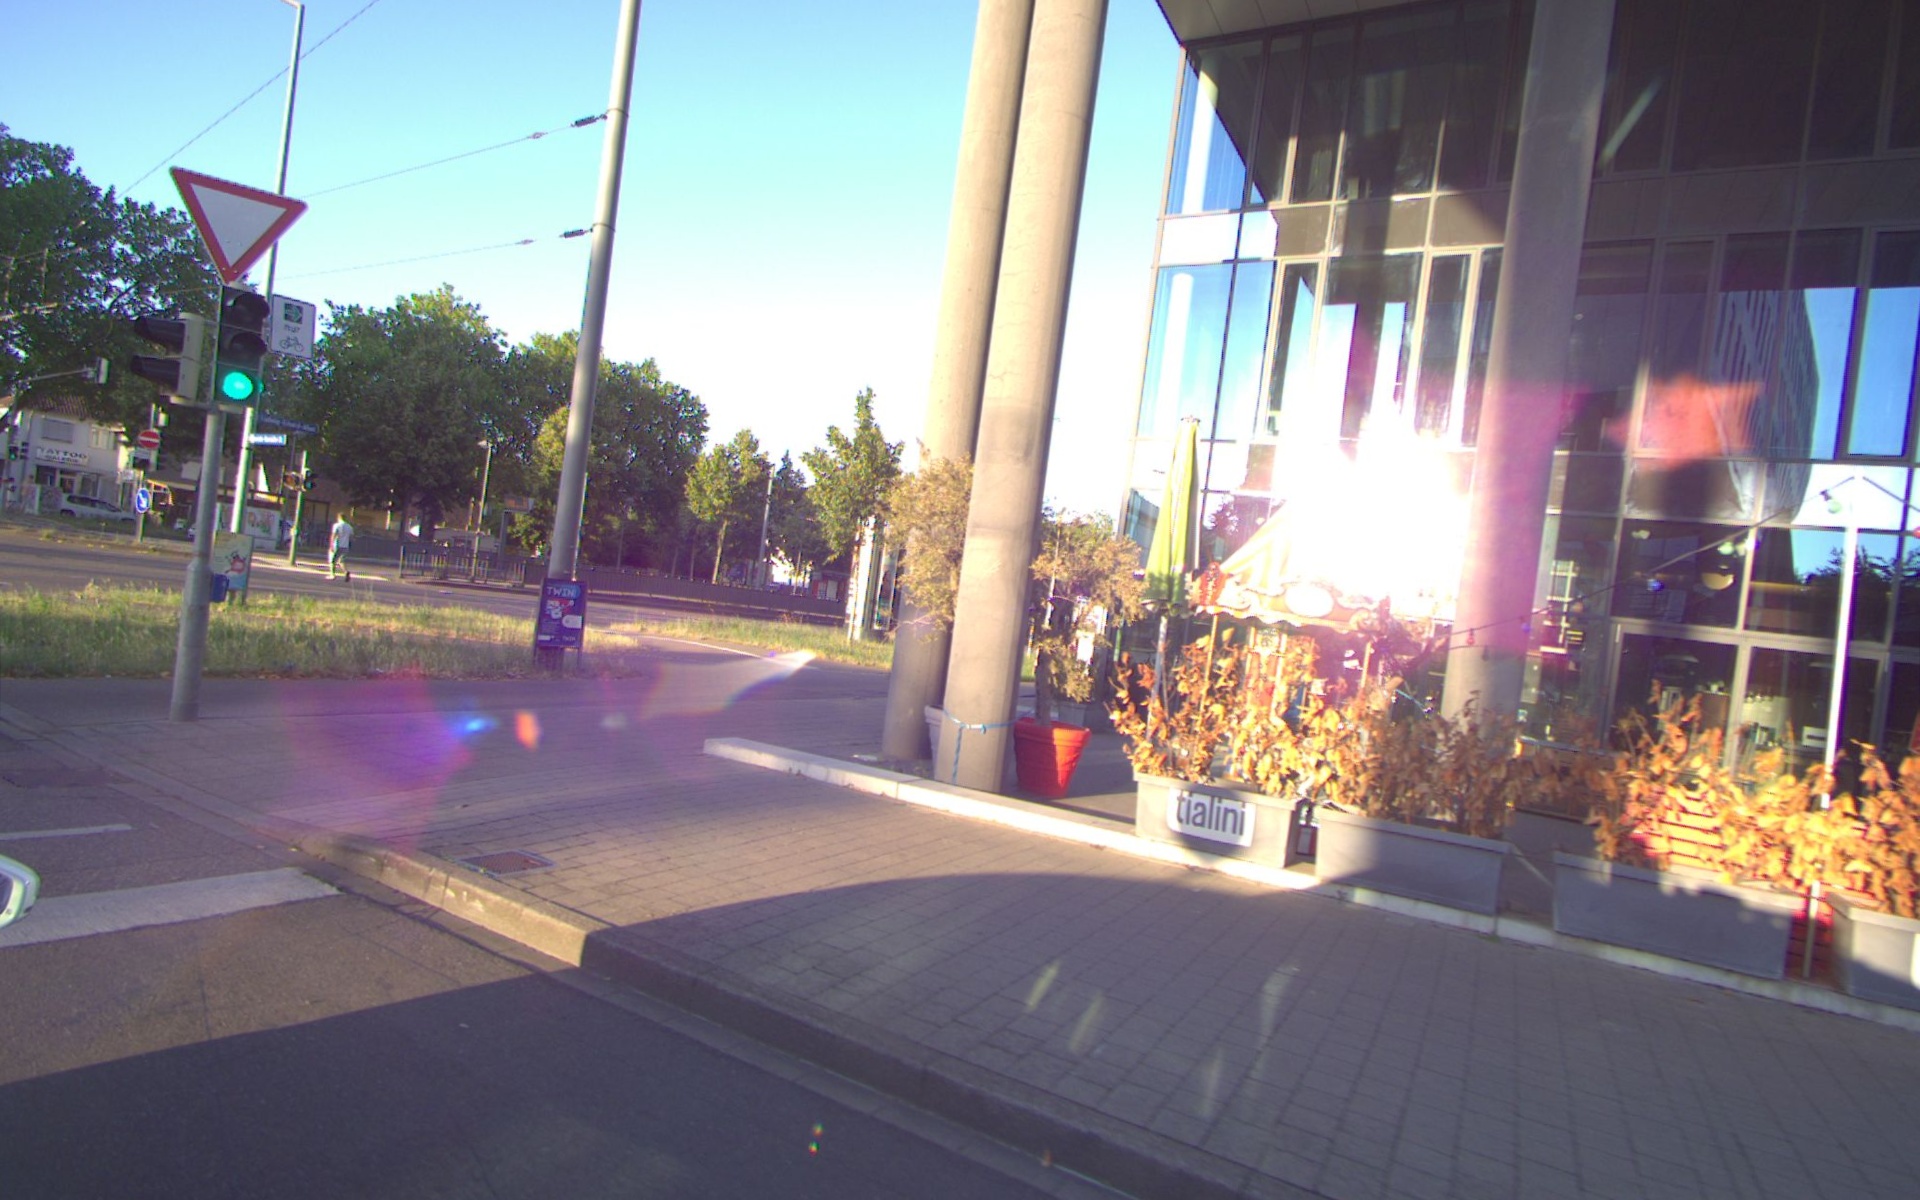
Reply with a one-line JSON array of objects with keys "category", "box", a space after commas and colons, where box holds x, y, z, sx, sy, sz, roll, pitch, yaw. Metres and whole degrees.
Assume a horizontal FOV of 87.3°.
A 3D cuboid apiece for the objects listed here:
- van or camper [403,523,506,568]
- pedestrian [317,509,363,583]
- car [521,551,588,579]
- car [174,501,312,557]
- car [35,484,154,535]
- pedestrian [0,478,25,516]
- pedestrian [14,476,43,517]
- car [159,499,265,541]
[{"category": "van or camper", "box": [-38.513, -4.115, 76.825, 2.229, 2.438, 6.568, 7, -2, 36]}, {"category": "pedestrian", "box": [-16.146, -1.401, 26.224, 0.755, 1.812, 0.796, 8, 0, -28]}, {"category": "car", "box": [-30.513, -2.649, 75.783, 1.968, 1.482, 4.234, 7, -1, 34]}, {"category": "car", "box": [-31.831, -3.111, 44.806, 1.829, 1.748, 4.545, 7, -1, 27]}, {"category": "car", "box": [-45.020, -4.705, 52.397, 1.968, 1.868, 4.234, 7, -1, 34]}, {"category": "pedestrian", "box": [-44.459, -4.801, 47.127, 0.714, 1.659, 0.889, 7, 0, -34]}, {"category": "pedestrian", "box": [-43.186, -4.785, 46.635, 0.714, 1.775, 0.889, 7, 0, -34]}, {"category": "car", "box": [-41.854, -4.471, 56.386, 1.968, 1.596, 4.234, 7, -1, 34]}]
